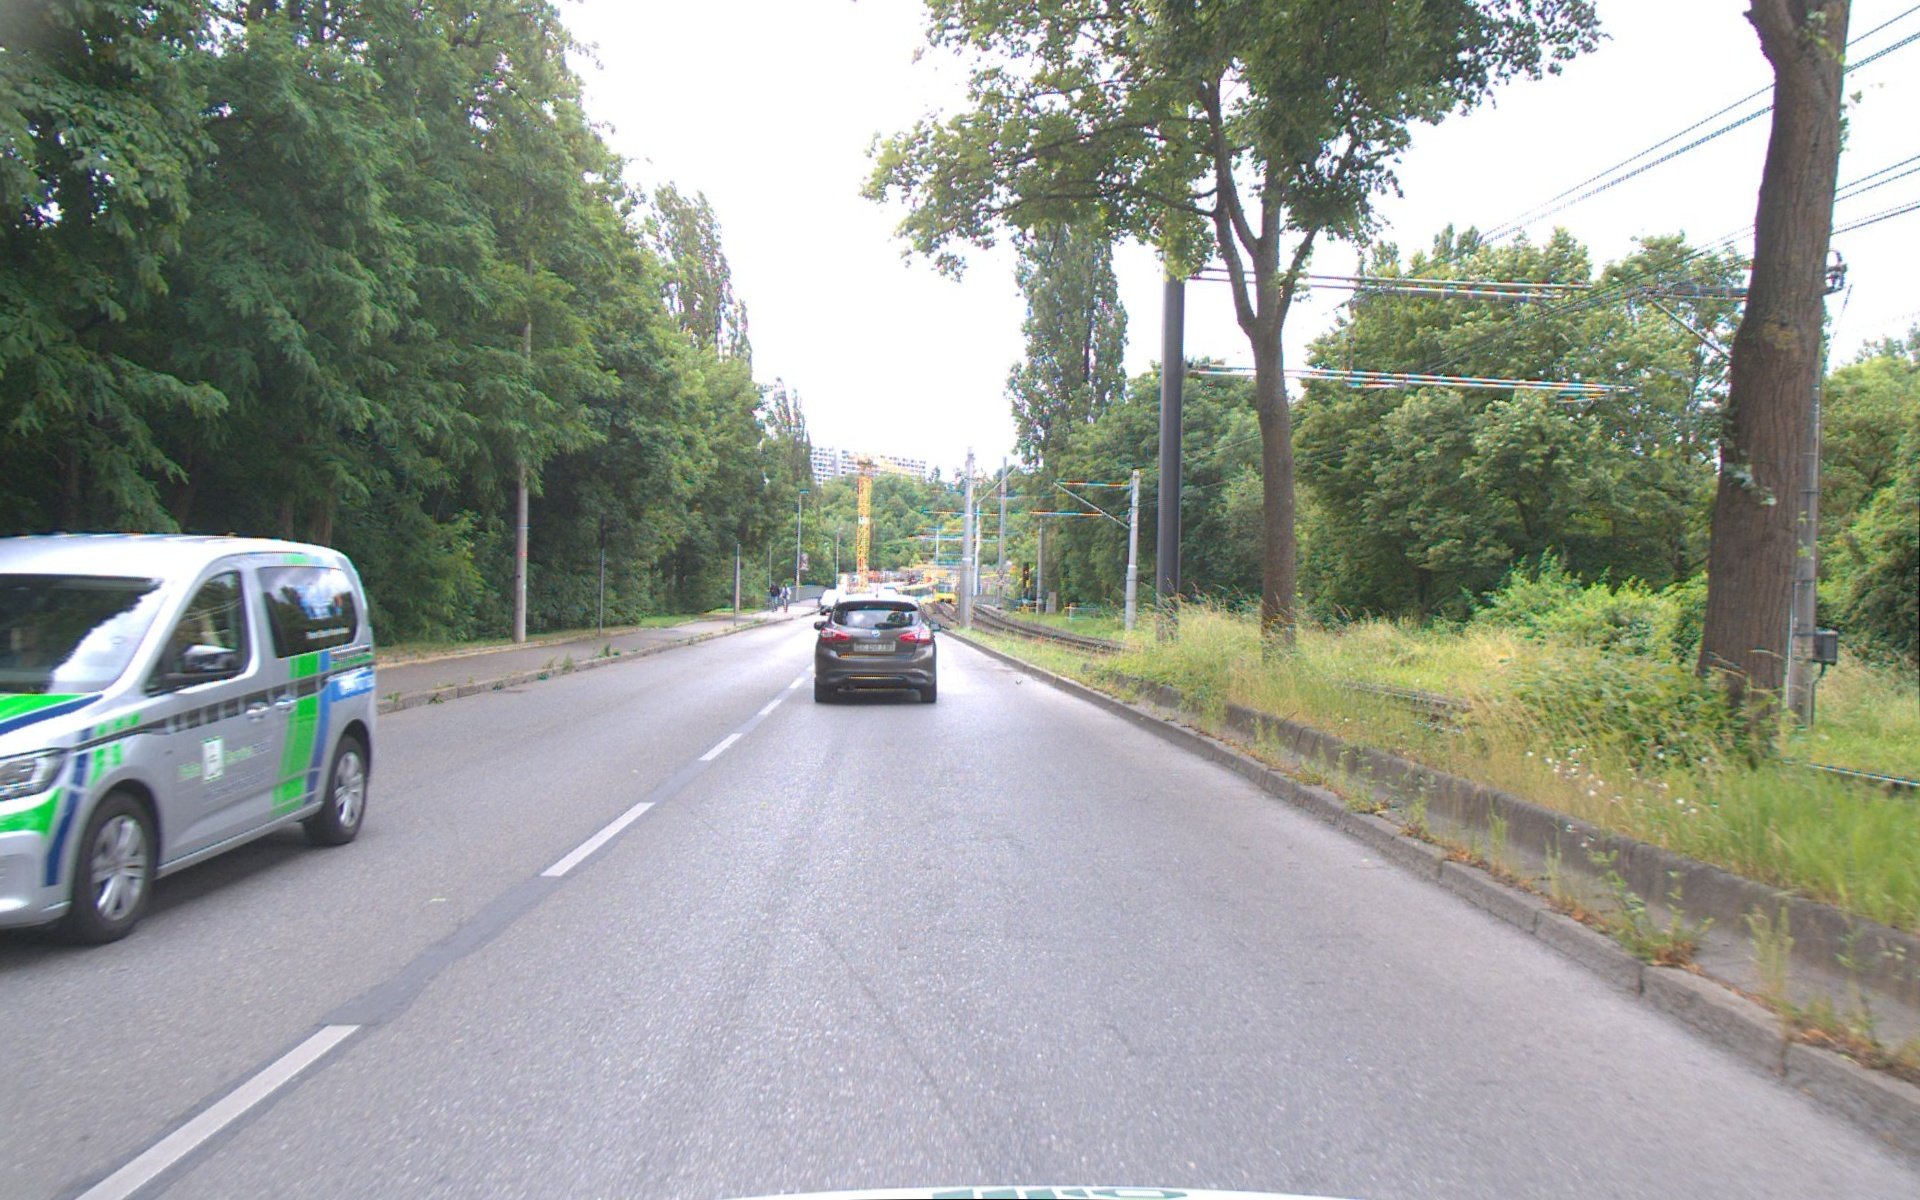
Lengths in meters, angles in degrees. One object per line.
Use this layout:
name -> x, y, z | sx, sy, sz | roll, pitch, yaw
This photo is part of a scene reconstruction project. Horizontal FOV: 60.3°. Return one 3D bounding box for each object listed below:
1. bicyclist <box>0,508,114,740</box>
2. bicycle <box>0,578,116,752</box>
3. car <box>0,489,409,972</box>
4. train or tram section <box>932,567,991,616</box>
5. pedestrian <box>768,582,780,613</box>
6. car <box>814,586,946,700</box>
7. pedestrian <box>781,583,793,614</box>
bicyclist -> -8.102, 0.207, 14.734 | 0.673, 1.982, 0.835 | 2, -1, -6
bicycle -> -8.036, 0.502, 14.079 | 0.685, 1.354, 2.278 | 2, 0, -6
car -> -4.443, 0.480, 8.512 | 1.819, 1.830, 4.555 | 0, 0, -2
train or tram section -> -0.027, -0.953, 211.509 | 2.974, 5.273, 22.988 | 3, -2, -11
pedestrian -> -10.968, -0.153, 97.686 | 0.575, 1.834, 0.822 | 3, 0, -3
car -> -1.263, 0.592, 24.649 | 1.794, 1.536, 3.996 | 1, 0, -5
pedestrian -> -10.250, -0.077, 97.967 | 0.540, 1.795, 0.858 | 5, 0, -3
